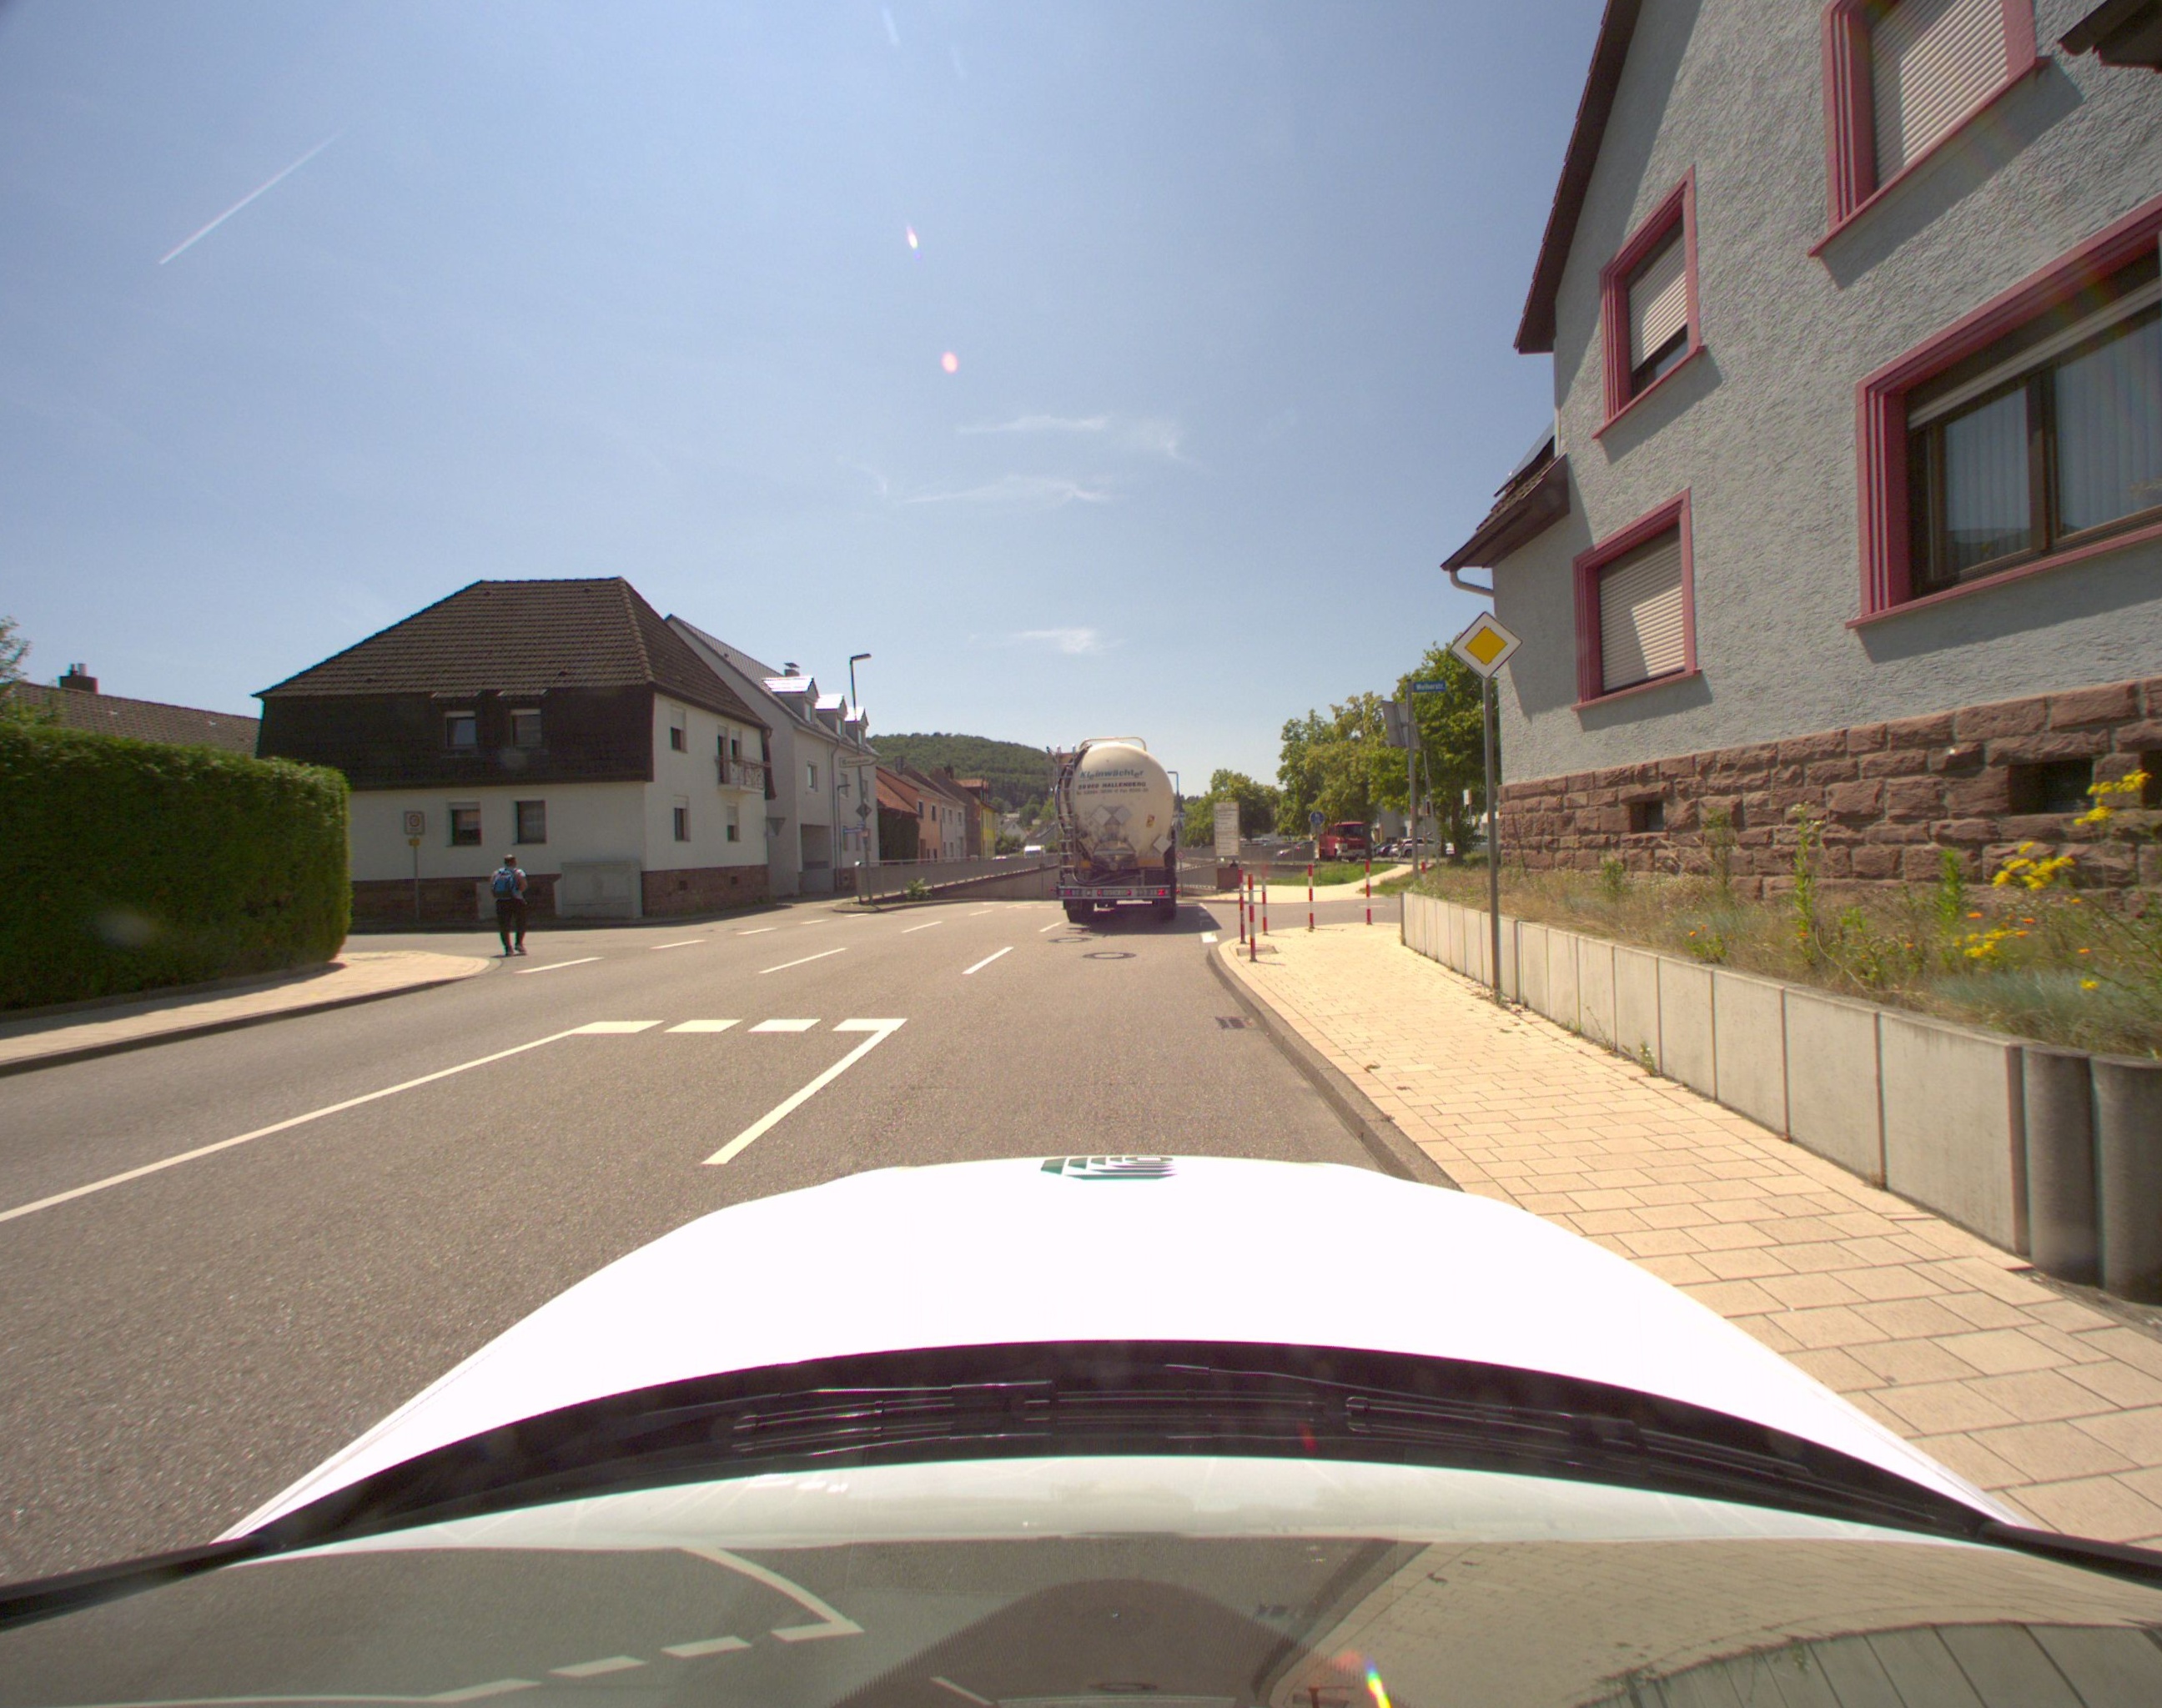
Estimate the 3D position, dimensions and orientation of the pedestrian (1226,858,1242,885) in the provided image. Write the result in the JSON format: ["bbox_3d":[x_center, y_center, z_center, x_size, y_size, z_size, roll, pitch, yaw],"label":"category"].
[{"bbox_3d":[10.246,1.162,54.558,0.832,1.782,0.789,-2,-3,3],"label":"pedestrian"}]

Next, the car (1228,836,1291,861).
[{"bbox_3d":[15.680,-0.469,71.702,5.089,2.063,1.991,-2,0,4],"label":"car"}]

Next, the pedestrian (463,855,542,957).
[{"bbox_3d":[-10.152,0.903,14.330,0.725,1.729,0.856,-1,-3,0],"label":"pedestrian"}]

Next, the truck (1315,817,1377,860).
[{"bbox_3d":[15.538,-0.876,48.001,2.123,2.334,5.263,-2,0,3],"label":"truck"}]

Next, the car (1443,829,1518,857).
[{"bbox_3d":[25.720,-0.706,52.524,3.920,1.478,1.759,-4,-1,3],"label":"car"}]

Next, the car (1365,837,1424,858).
[{"bbox_3d":[27.070,-0.582,70.462,4.387,1.490,1.759,-4,-1,3],"label":"car"}]

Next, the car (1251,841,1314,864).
[{"bbox_3d":[14.694,-0.088,59.477,4.185,1.498,1.688,-2,0,4],"label":"car"}]

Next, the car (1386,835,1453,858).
[{"bbox_3d":[26.026,-0.546,62.708,4.387,1.490,1.759,-4,-1,3],"label":"car"}]

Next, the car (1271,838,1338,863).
[{"bbox_3d":[14.884,-0.238,54.386,3.969,1.498,1.750,-2,0,4],"label":"car"}]

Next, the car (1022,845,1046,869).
[{"bbox_3d":[-5.131,0.356,89.950,2.057,2.536,5.665,0,0,3],"label":"car"}]

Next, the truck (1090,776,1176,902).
[{"bbox_3d":[2.024,-0.443,29.917,2.721,4.064,6.539,-1,-1,6],"label":"truck"}]

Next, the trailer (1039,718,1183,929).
[{"bbox_3d":[1.257,-0.509,22.554,2.721,4.064,13.333,-1,-1,6],"label":"trailer"}]

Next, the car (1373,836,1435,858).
[{"bbox_3d":[26.816,-0.561,67.710,4.387,1.490,1.759,-4,-1,3],"label":"car"}]

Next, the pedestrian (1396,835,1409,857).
[{"bbox_3d":[22.894,-0.539,58.015,0.608,1.511,0.744,-4,0,13],"label":"pedestrian"}]

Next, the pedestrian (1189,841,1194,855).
[{"bbox_3d":[14.707,-0.782,108.460,0.669,1.779,0.595,-2,-1,5],"label":"pedestrian"}]
